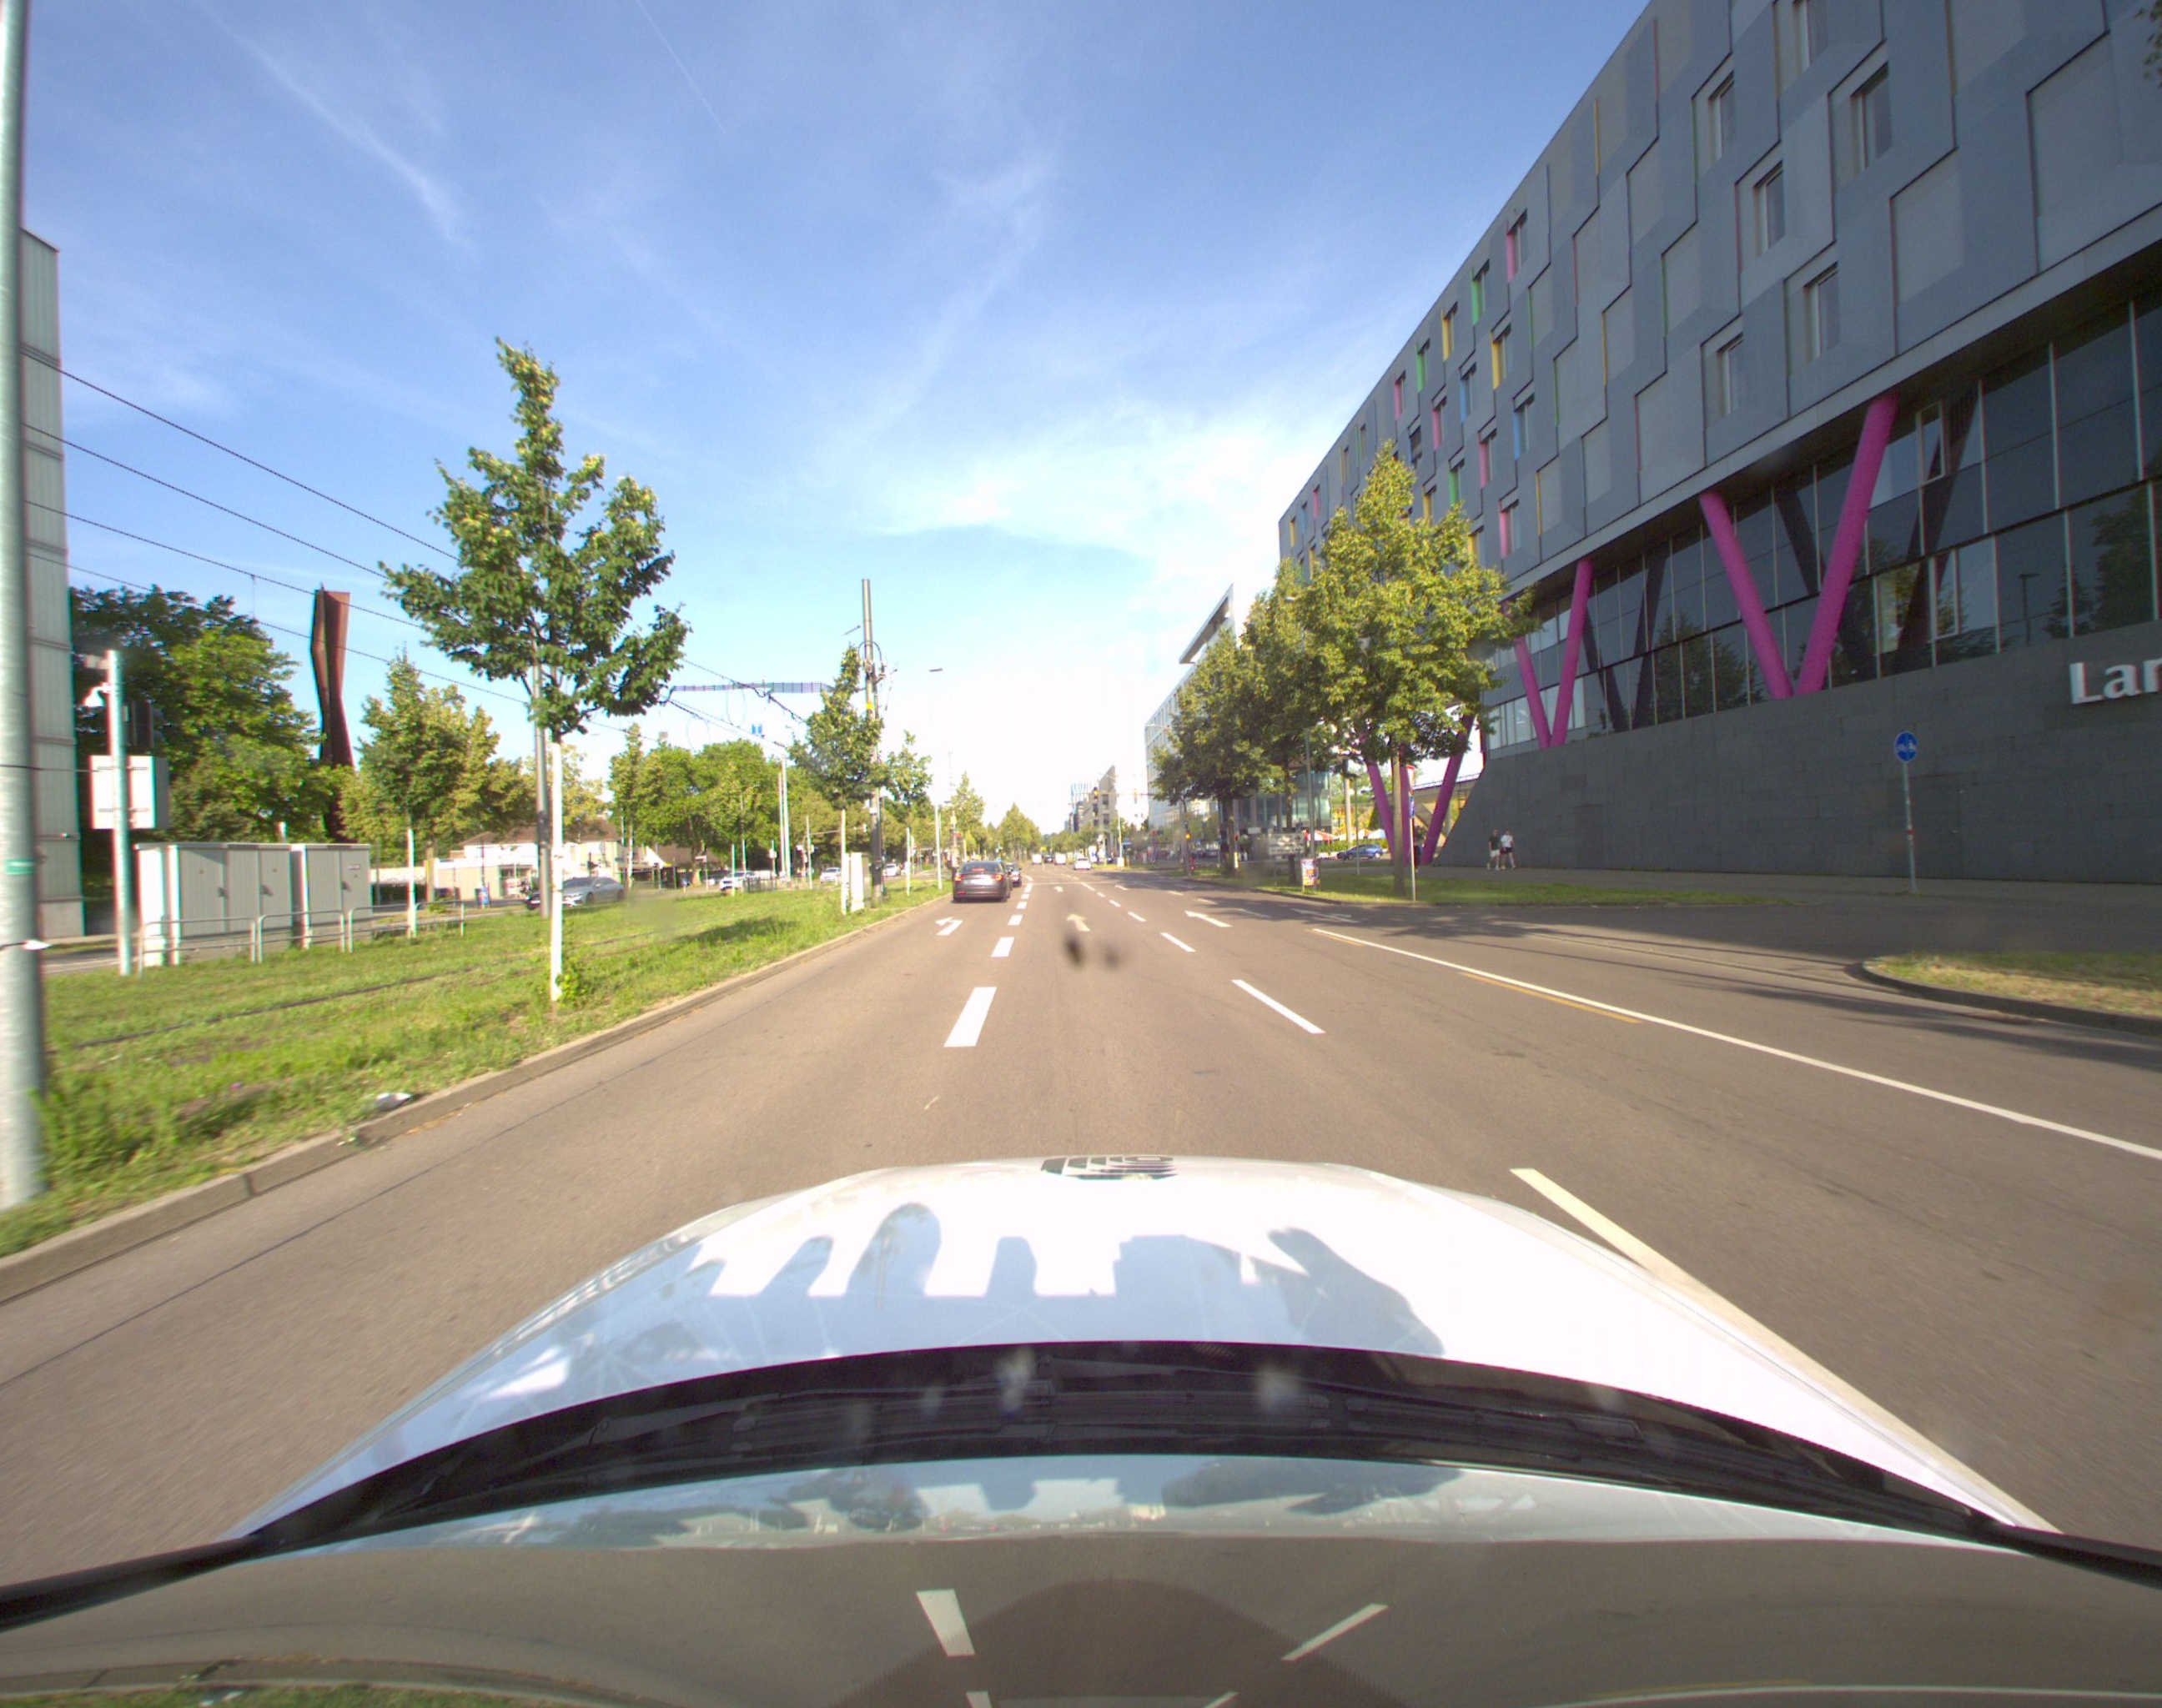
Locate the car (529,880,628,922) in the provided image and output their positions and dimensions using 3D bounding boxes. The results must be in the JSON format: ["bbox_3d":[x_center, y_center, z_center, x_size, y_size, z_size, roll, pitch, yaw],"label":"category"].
[{"bbox_3d":[-23.517,2.165,38.356,1.993,1.527,4.899,-6,0,-8],"label":"car"}]

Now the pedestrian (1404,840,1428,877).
[{"bbox_3d":[15.625,0.206,38.011,0.692,1.638,0.735,-4,-1,-4],"label":"pedestrian"}]

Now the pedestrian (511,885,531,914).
[{"bbox_3d":[-42.484,3.479,61.746,0.715,2.107,0.887,-5,-1,26],"label":"pedestrian"}]

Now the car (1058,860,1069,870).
[{"bbox_3d":[-3.065,1.972,143.962,1.859,1.684,3.996,-1,0,-2],"label":"car"}]

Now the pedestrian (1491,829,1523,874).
[{"bbox_3d":[18.093,-0.096,34.578,0.766,1.825,0.851,-4,-1,-4],"label":"pedestrian"}]

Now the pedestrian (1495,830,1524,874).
[{"bbox_3d":[18.200,-0.069,34.583,0.655,1.793,0.785,-5,-1,-4],"label":"pedestrian"}]

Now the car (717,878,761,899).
[{"bbox_3d":[-28.081,2.801,67.023,1.901,1.528,4.437,-2,0,-3],"label":"car"}]

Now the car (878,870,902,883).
[{"bbox_3d":[-22.688,2.687,96.802,1.989,1.504,4.088,-3,-2,-3],"label":"car"}]

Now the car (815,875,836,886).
[{"bbox_3d":[-42.710,4.414,136.192,1.874,1.559,4.002,-3,-1,2],"label":"car"}]

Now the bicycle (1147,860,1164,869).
[{"bbox_3d":[8.923,1.226,97.738,1.855,1.032,0.778,-3,-1,44],"label":"bicycle"}]

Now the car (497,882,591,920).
[{"bbox_3d":[-28.128,2.400,42.869,1.989,1.687,4.610,-2,0,-3],"label":"car"}]

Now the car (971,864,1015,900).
[{"bbox_3d":[-3.899,1.190,36.666,1.783,1.479,4.347,-1,0,-4],"label":"car"}]

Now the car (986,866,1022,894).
[{"bbox_3d":[-4.009,1.325,43.030,1.760,1.330,4.394,-1,0,-4],"label":"car"}]

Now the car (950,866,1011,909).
[{"bbox_3d":[-3.511,1.135,29.122,1.886,1.386,4.328,-1,0,-4],"label":"car"}]

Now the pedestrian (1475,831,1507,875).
[{"bbox_3d":[17.450,-0.042,34.671,0.753,1.793,0.842,-5,-1,-4],"label":"pedestrian"}]

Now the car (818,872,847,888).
[{"bbox_3d":[-25.732,2.666,84.407,1.990,1.528,4.304,-2,0,-5],"label":"car"}]

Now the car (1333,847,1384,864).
[{"bbox_3d":[26.536,0.144,77.992,4.176,1.424,1.856,-3,0,-4],"label":"car"}]

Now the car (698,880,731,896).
[{"bbox_3d":[-43.775,4.015,97.333,1.874,1.750,4.002,-3,-1,2],"label":"car"}]

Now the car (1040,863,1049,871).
[{"bbox_3d":[-8.106,2.828,181.333,1.920,1.684,3.994,-1,0,-4],"label":"car"}]

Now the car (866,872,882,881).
[{"bbox_3d":[-41.485,4.521,163.292,1.874,1.559,4.002,-3,-1,2],"label":"car"}]

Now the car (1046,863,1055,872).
[{"bbox_3d":[-6.228,2.724,167.434,1.919,1.684,3.996,-1,0,-2],"label":"car"}]

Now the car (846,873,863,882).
[{"bbox_3d":[-41.918,4.363,150.781,1.874,1.559,4.002,-3,-1,2],"label":"car"}]

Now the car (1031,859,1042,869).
[{"bbox_3d":[-8.262,1.805,150.486,2.010,1.684,3.996,-1,0,-2],"label":"car"}]

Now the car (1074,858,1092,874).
[{"bbox_3d":[0.211,1.308,91.065,1.859,1.684,3.996,-1,0,-2],"label":"car"}]

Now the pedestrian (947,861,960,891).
[{"bbox_3d":[-7.666,1.322,48.989,0.698,1.792,0.635,-1,-1,-3],"label":"pedestrian"}]
